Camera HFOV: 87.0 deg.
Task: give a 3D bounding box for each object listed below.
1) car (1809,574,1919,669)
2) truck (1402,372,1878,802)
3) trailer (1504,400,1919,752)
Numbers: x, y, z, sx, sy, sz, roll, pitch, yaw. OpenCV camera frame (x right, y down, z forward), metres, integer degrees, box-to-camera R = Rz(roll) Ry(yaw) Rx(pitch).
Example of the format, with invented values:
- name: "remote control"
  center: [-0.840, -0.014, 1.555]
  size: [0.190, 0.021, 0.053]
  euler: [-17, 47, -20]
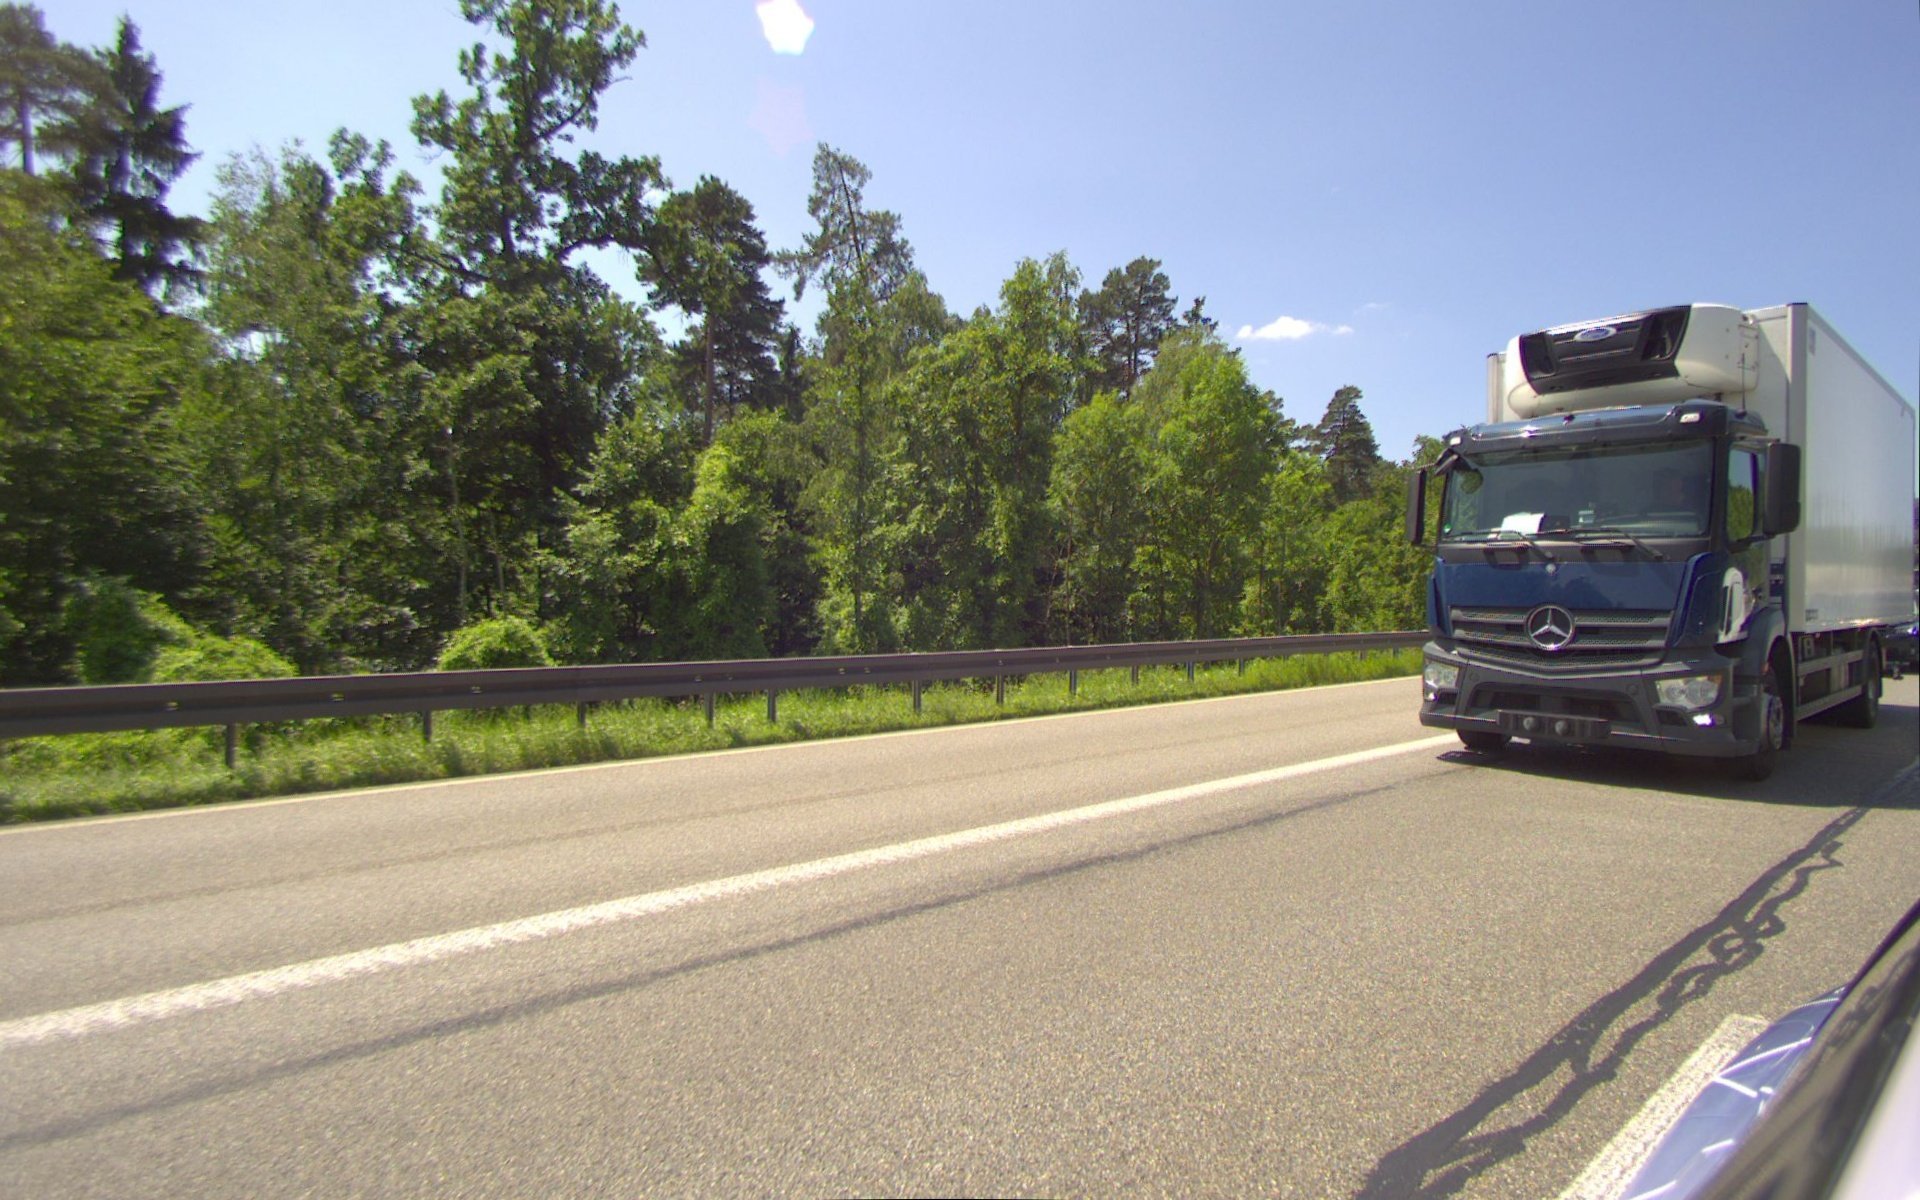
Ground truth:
- name: "car"
  center: [19.283, 0.361, 21.013]
  size: [4.534, 1.713, 1.996]
  euler: [-2, 3, -43]
- name: "truck"
  center: [6.297, -0.171, 9.288]
  size: [4.031, 2.976, 2.562]
  euler: [-2, 2, -39]
- name: "trailer"
  center: [9.392, -0.255, 11.879]
  size: [7.741, 2.935, 2.561]
  euler: [-1, 1, -39]
